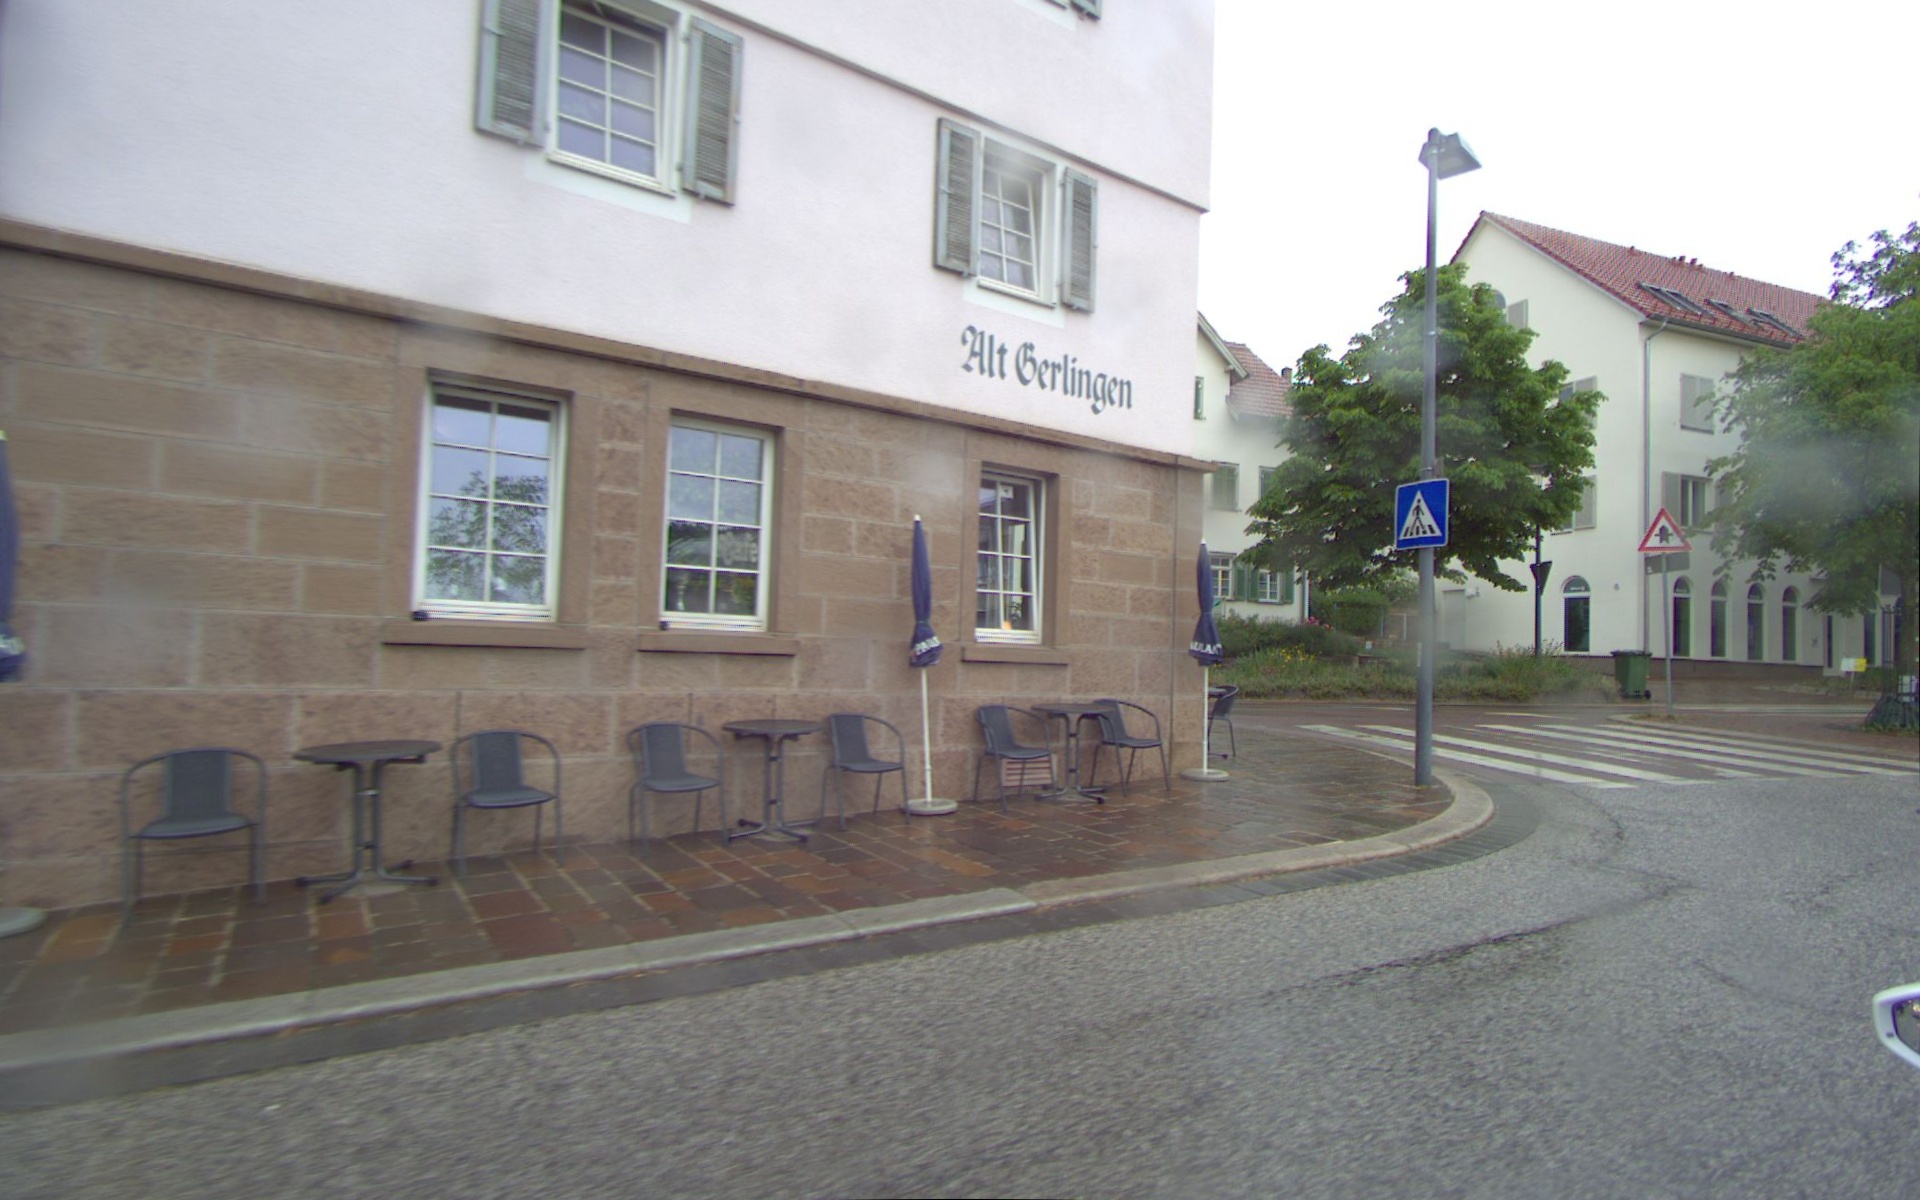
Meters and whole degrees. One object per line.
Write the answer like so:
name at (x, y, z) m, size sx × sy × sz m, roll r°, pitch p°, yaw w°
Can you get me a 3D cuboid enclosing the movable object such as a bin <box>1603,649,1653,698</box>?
movable object such as a bin at (15.110, 1.660, 22.742) m, size 0.685 × 1.072 × 0.636 m, roll 1°, pitch -3°, yaw -5°
